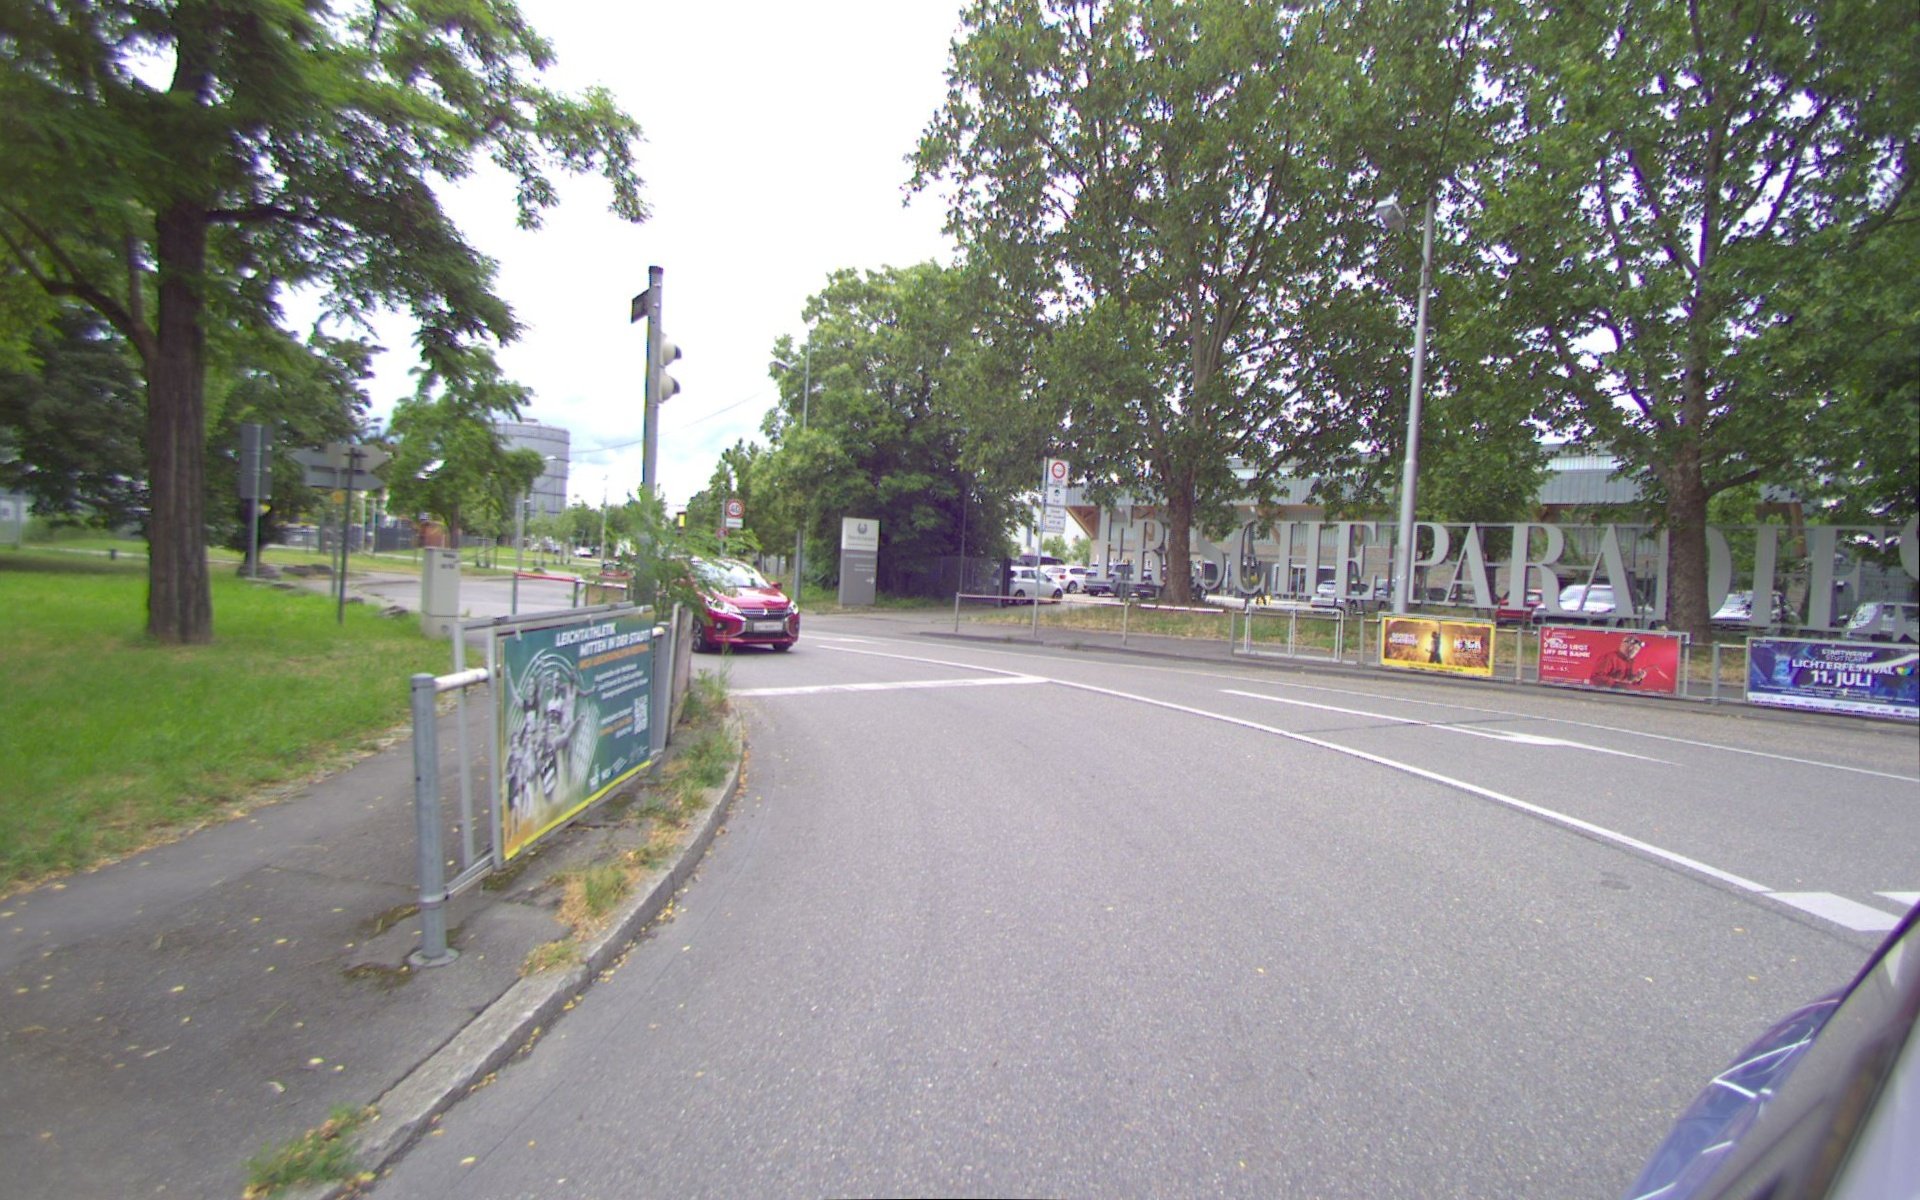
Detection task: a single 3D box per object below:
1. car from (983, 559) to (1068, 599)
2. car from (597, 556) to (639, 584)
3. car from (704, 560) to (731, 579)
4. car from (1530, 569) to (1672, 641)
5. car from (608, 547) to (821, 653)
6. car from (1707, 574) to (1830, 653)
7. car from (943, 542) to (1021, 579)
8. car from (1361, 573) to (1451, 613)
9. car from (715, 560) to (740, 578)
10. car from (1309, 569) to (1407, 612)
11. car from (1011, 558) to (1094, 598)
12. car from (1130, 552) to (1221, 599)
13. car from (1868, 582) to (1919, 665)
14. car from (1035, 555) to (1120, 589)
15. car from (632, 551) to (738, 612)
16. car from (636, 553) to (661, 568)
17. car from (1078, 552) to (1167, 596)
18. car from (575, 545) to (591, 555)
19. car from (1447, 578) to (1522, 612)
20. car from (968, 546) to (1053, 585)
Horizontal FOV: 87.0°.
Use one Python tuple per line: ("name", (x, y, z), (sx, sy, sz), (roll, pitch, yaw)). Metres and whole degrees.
("car", (2.798, -0.874, 42.742), (1.477, 1.523, 3.670), (5, 2, 44))
("car", (-20.656, -1.841, 61.257), (2.005, 1.554, 3.952), (0, 3, -14))
("car", (-19.663, -2.495, 82.218), (1.682, 1.424, 3.377), (3, 1, -7))
("car", (16.832, 0.163, 26.506), (4.446, 1.633, 1.882), (3, 1, -41))
("car", (-4.107, -0.071, 16.579), (1.704, 1.483, 3.827), (0, 3, -43))
("car", (18.977, 0.345, 23.687), (4.244, 1.633, 1.589), (3, 1, -43))
("car", (1.433, -2.455, 63.453), (4.741, 2.038, 1.997), (2, 2, -43))
("car", (20.328, -0.305, 46.044), (4.561, 1.581, 1.997), (2, 2, -42))
("car", (-20.162, -2.693, 87.933), (1.682, 1.424, 3.377), (3, 1, -7))
("car", (16.845, -0.387, 42.727), (4.561, 1.581, 1.997), (2, 2, -42))
("car", (5.268, -1.231, 57.271), (4.561, 2.038, 1.997), (2, 2, -42))
("car", (10.597, -1.181, 49.626), (4.561, 2.038, 1.997), (2, 2, -42))
("car", (20.777, 0.554, 21.679), (3.932, 1.633, 1.589), (3, 1, -43))
("car", (6.398, -1.491, 54.750), (4.561, 1.577, 1.997), (2, 2, -42))
("car", (-8.544, -0.619, 31.216), (1.814, 1.656, 4.187), (4, 0, -34))
("car", (-34.819, -4.418, 113.158), (2.006, 1.554, 3.949), (-1, 4, -27))
("car", (8.378, -1.313, 51.913), (4.561, 2.038, 1.997), (2, 2, -42))
("car", (-63.840, -8.444, 171.205), (2.005, 1.555, 3.949), (4, 1, -26))
("car", (27.826, -0.234, 53.650), (4.561, 1.581, 1.997), (2, 2, -42))
("car", (3.050, -2.065, 60.344), (5.014, 2.023, 1.997), (2, 2, -43))
